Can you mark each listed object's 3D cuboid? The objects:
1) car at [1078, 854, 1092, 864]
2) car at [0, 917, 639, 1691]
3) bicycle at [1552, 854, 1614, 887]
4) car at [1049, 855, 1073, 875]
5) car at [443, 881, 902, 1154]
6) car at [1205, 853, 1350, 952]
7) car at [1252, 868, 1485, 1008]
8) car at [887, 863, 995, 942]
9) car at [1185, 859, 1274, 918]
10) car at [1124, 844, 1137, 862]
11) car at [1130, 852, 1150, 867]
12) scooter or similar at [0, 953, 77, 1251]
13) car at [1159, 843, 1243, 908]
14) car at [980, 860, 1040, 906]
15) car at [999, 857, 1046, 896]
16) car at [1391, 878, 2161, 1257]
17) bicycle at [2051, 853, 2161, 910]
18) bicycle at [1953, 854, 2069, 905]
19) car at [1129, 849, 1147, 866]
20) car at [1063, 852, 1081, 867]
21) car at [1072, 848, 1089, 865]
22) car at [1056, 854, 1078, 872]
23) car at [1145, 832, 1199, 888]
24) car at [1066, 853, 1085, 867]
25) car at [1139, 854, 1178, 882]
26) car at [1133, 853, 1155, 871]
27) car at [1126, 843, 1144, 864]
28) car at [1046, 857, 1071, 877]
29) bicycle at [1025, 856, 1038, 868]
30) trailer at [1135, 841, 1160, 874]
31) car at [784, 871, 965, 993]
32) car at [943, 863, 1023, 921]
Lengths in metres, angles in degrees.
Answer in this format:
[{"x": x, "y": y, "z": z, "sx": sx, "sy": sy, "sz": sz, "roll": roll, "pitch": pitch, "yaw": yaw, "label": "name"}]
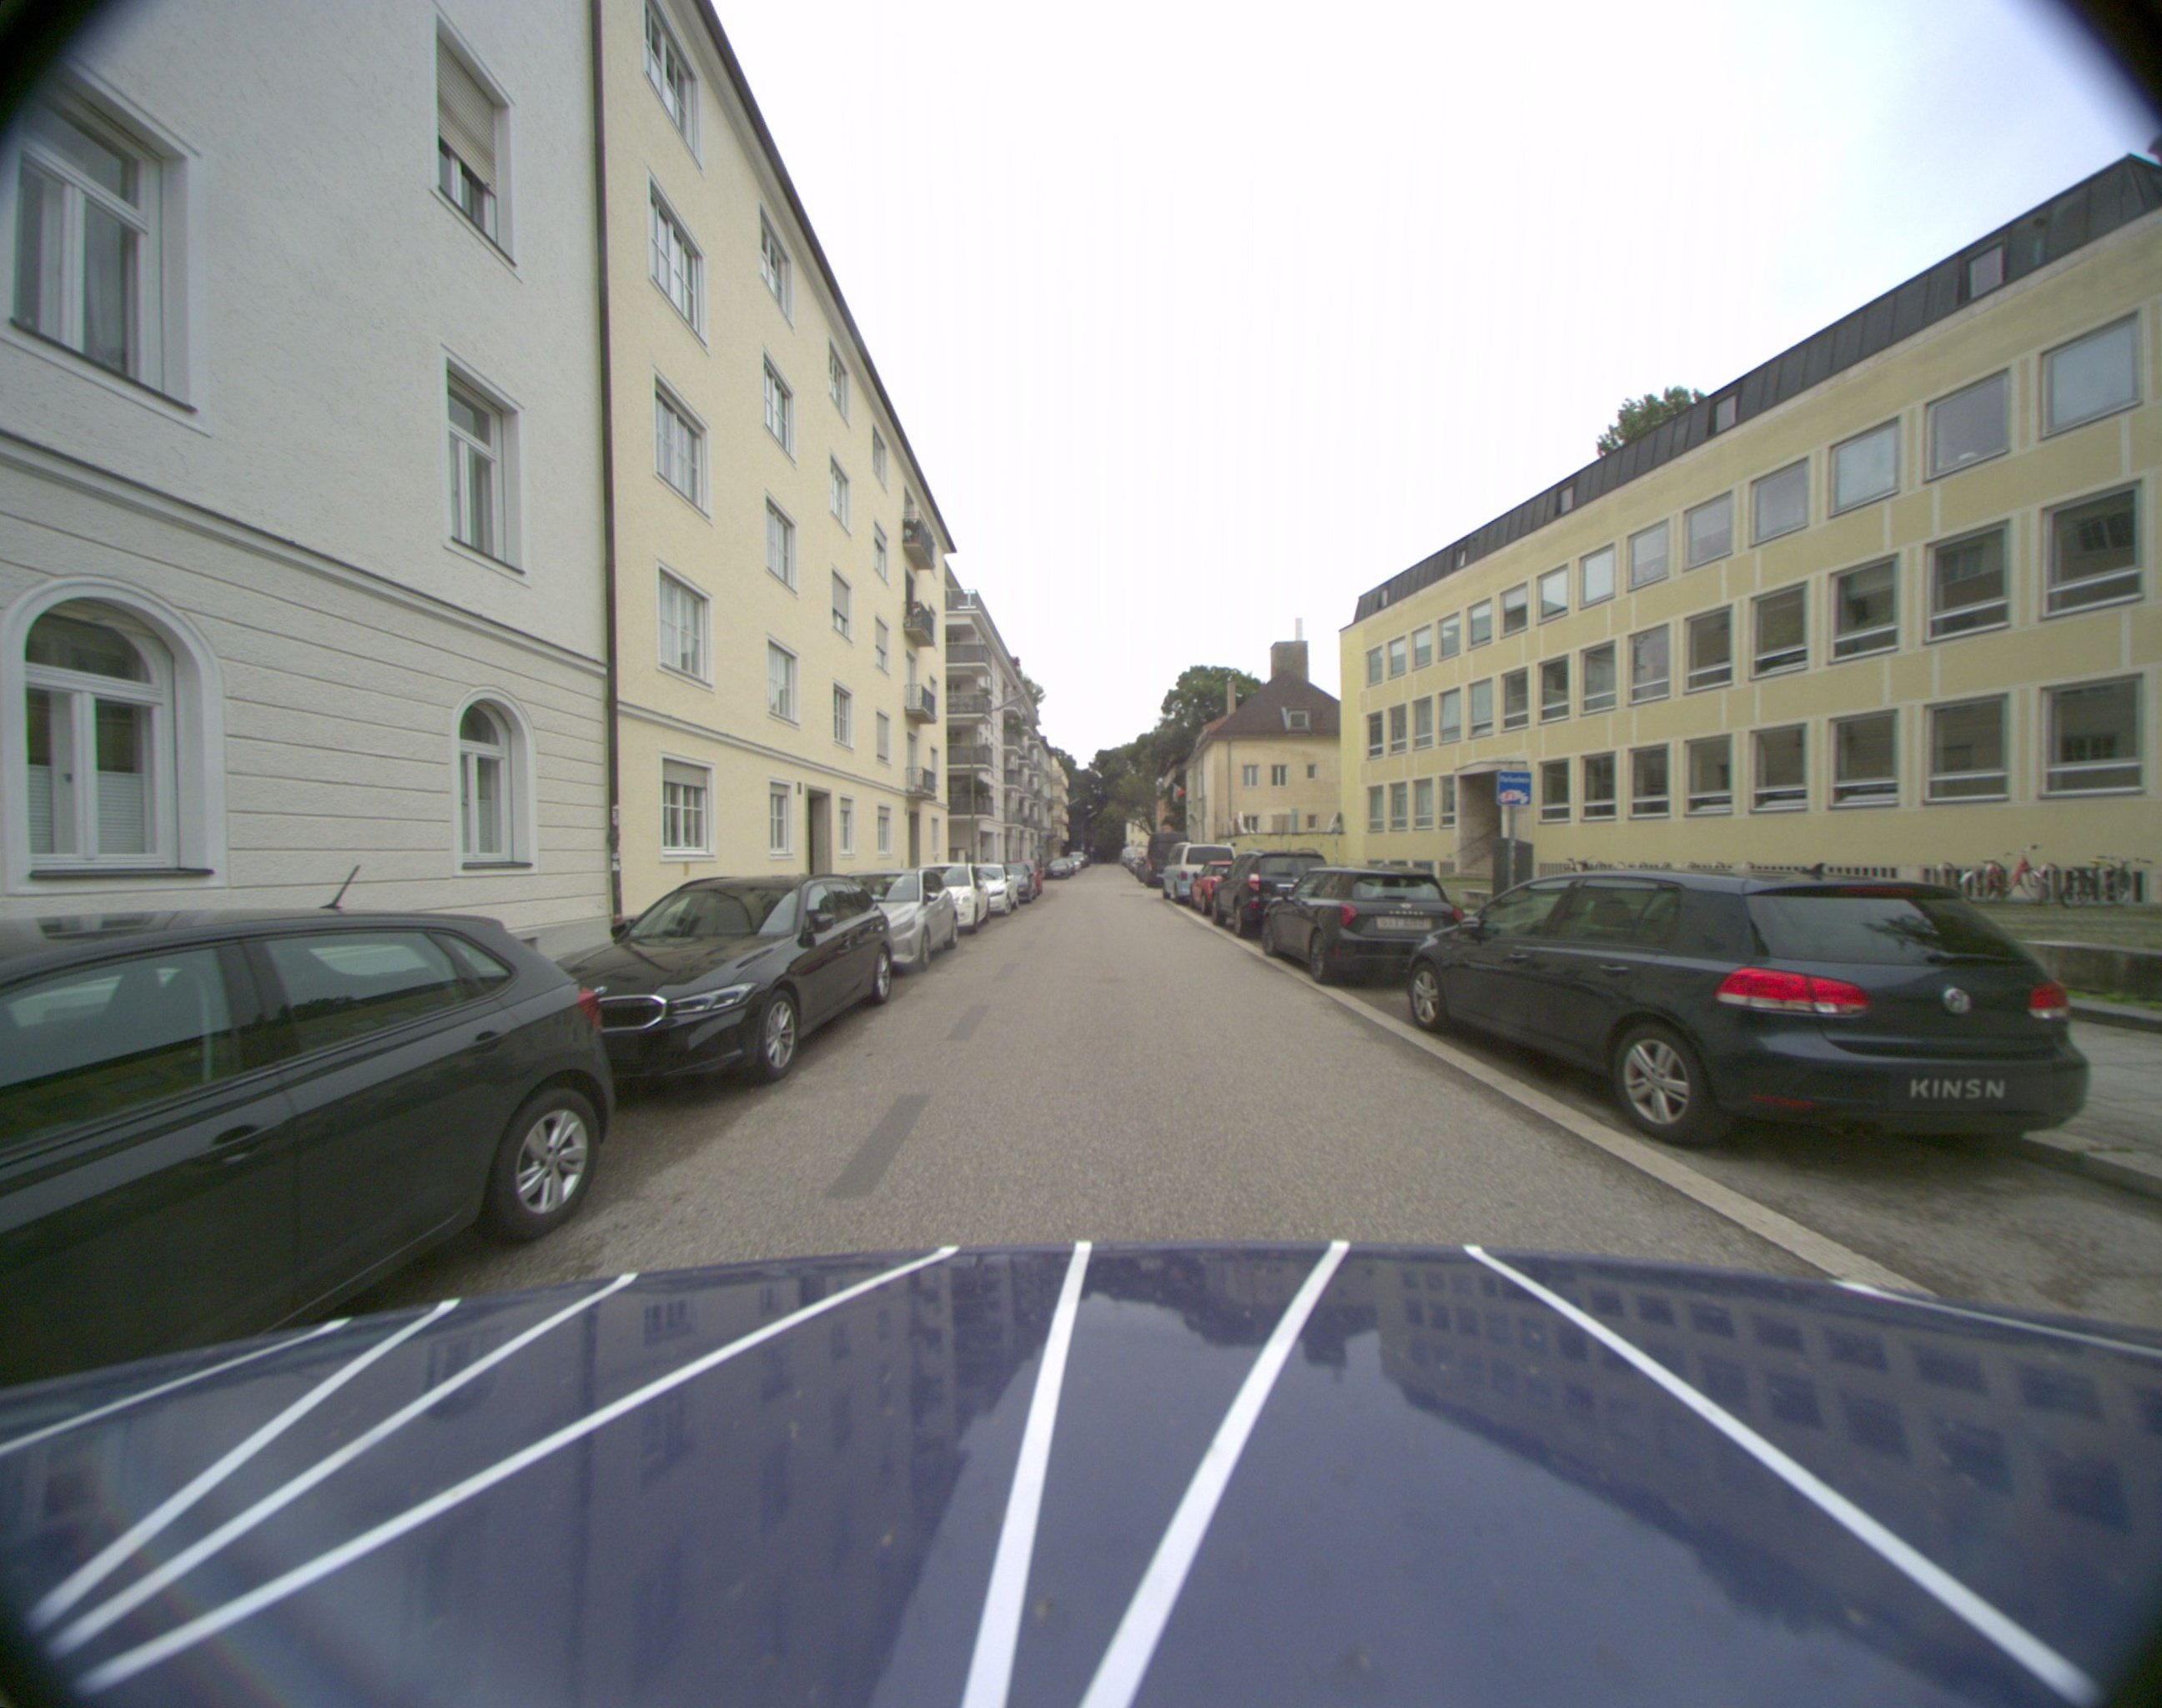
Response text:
[{"x": 0.614, "y": 0.700, "z": 108.487, "sx": 1.871, "sy": 1.455, "sz": 4.268, "roll": -1, "pitch": 0, "yaw": 3, "label": "car"}, {"x": -3.113, "y": 1.054, "z": 1.797, "sx": 1.683, "sy": 1.419, "sz": 4.087, "roll": -1, "pitch": 0, "yaw": 1, "label": "car"}, {"x": 16.729, "y": 0.552, "z": 25.339, "sx": 1.954, "sy": 1.008, "sz": 0.580, "roll": -2, "pitch": 1, "yaw": -16, "label": "bicycle"}, {"x": -1.624, "y": 0.865, "z": 61.313, "sx": 1.766, "sy": 1.449, "sz": 3.418, "roll": -1, "pitch": 0, "yaw": 1, "label": "car"}, {"x": -2.950, "y": 1.052, "z": 6.727, "sx": 1.683, "sy": 1.419, "sz": 4.390, "roll": -1, "pitch": 0, "yaw": 0, "label": "car"}, {"x": 3.775, "y": 0.840, "z": 15.424, "sx": 1.748, "sy": 1.656, "sz": 4.448, "roll": 2, "pitch": 0, "yaw": 0, "label": "car"}, {"x": 3.587, "y": 0.955, "z": 10.268, "sx": 1.684, "sy": 1.445, "sz": 3.869, "roll": 1, "pitch": 0, "yaw": 0, "label": "car"}, {"x": -3.024, "y": 0.992, "z": 17.267, "sx": 1.683, "sy": 1.473, "sz": 4.166, "roll": -1, "pitch": 0, "yaw": 0, "label": "car"}, {"x": 3.999, "y": 0.883, "z": 21.016, "sx": 1.748, "sy": 1.379, "sz": 3.918, "roll": -2, "pitch": 0, "yaw": 1, "label": "car"}, {"x": 7.135, "y": -0.141, "z": 109.674, "sx": 1.880, "sy": 2.539, "sz": 4.370, "roll": -1, "pitch": 1, "yaw": 3, "label": "car"}, {"x": 5.947, "y": 0.563, "z": 76.945, "sx": 1.818, "sy": 1.444, "sz": 3.928, "roll": -1, "pitch": 0, "yaw": 1, "label": "car"}, {"x": -4.547, "y": 1.013, "z": 2.649, "sx": 0.486, "sy": 1.157, "sz": 1.172, "roll": -2, "pitch": 1, "yaw": -1, "label": "scooter or similar"}, {"x": 3.914, "y": 0.641, "z": 25.666, "sx": 1.933, "sy": 1.967, "sz": 5.021, "roll": 0, "pitch": 0, "yaw": -1, "label": "car"}, {"x": -2.479, "y": 0.977, "z": 27.348, "sx": 1.683, "sy": 1.402, "sz": 4.421, "roll": -1, "pitch": 0, "yaw": 0, "label": "car"}, {"x": -2.444, "y": 0.927, "z": 32.753, "sx": 1.683, "sy": 1.489, "sz": 3.823, "roll": -1, "pitch": 0, "yaw": 0, "label": "car"}, {"x": 3.818, "y": 0.962, "z": 5.168, "sx": 1.661, "sy": 1.445, "sz": 3.973, "roll": 1, "pitch": 0, "yaw": -2, "label": "car"}, {"x": 19.557, "y": 0.510, "z": 14.373, "sx": 1.953, "sy": 1.008, "sz": 0.625, "roll": -1, "pitch": 0, "yaw": -9, "label": "bicycle"}, {"x": 19.310, "y": 0.517, "z": 15.788, "sx": 1.953, "sy": 1.008, "sz": 0.625, "roll": -1, "pitch": 0, "yaw": -9, "label": "bicycle"}, {"x": 6.195, "y": 0.343, "z": 82.897, "sx": 1.817, "sy": 1.723, "sz": 3.650, "roll": -1, "pitch": 0, "yaw": 2, "label": "car"}, {"x": -0.916, "y": 0.523, "z": 77.620, "sx": 1.766, "sy": 1.448, "sz": 3.747, "roll": -1, "pitch": 0, "yaw": 1, "label": "car"}, {"x": -0.064, "y": 0.311, "z": 92.711, "sx": 1.871, "sy": 2.002, "sz": 4.268, "roll": -1, "pitch": 0, "yaw": 3, "label": "car"}, {"x": -1.160, "y": 0.787, "z": 65.773, "sx": 1.766, "sy": 1.448, "sz": 3.747, "roll": -1, "pitch": 0, "yaw": 1, "label": "car"}, {"x": 4.554, "y": 0.295, "z": 38.822, "sx": 2.302, "sy": 2.630, "sz": 5.654, "roll": 0, "pitch": 0, "yaw": 3, "label": "car"}, {"x": -0.544, "y": 0.622, "z": 84.050, "sx": 1.765, "sy": 1.448, "sz": 3.748, "roll": -1, "pitch": 0, "yaw": 4, "label": "car"}, {"x": 4.425, "y": 0.776, "z": 43.947, "sx": 1.706, "sy": 1.485, "sz": 3.488, "roll": -1, "pitch": 0, "yaw": -3, "label": "car"}, {"x": 5.433, "y": 0.684, "z": 65.925, "sx": 1.767, "sy": 1.505, "sz": 3.842, "roll": 0, "pitch": 0, "yaw": 2, "label": "car"}, {"x": 6.661, "y": -0.086, "z": 93.393, "sx": 2.104, "sy": 2.418, "sz": 4.550, "roll": -1, "pitch": 0, "yaw": 4, "label": "car"}, {"x": -1.662, "y": 0.928, "z": 56.204, "sx": 1.784, "sy": 1.385, "sz": 4.245, "roll": -1, "pitch": 0, "yaw": -2, "label": "car"}, {"x": -4.602, "y": 0.744, "z": 70.150, "sx": 0.580, "sy": 1.008, "sz": 1.955, "roll": -2, "pitch": 1, "yaw": 14, "label": "bicycle"}, {"x": 5.321, "y": 0.248, "z": 60.463, "sx": 1.817, "sy": 2.521, "sz": 3.390, "roll": 3, "pitch": 1, "yaw": 6, "label": "trailer"}, {"x": -2.976, "y": 1.046, "z": 11.855, "sx": 1.683, "sy": 1.419, "sz": 4.166, "roll": -1, "pitch": 0, "yaw": 0, "label": "car"}, {"x": -2.714, "y": 1.003, "z": 21.936, "sx": 1.683, "sy": 1.402, "sz": 4.442, "roll": -1, "pitch": 0, "yaw": 0, "label": "car"}]
